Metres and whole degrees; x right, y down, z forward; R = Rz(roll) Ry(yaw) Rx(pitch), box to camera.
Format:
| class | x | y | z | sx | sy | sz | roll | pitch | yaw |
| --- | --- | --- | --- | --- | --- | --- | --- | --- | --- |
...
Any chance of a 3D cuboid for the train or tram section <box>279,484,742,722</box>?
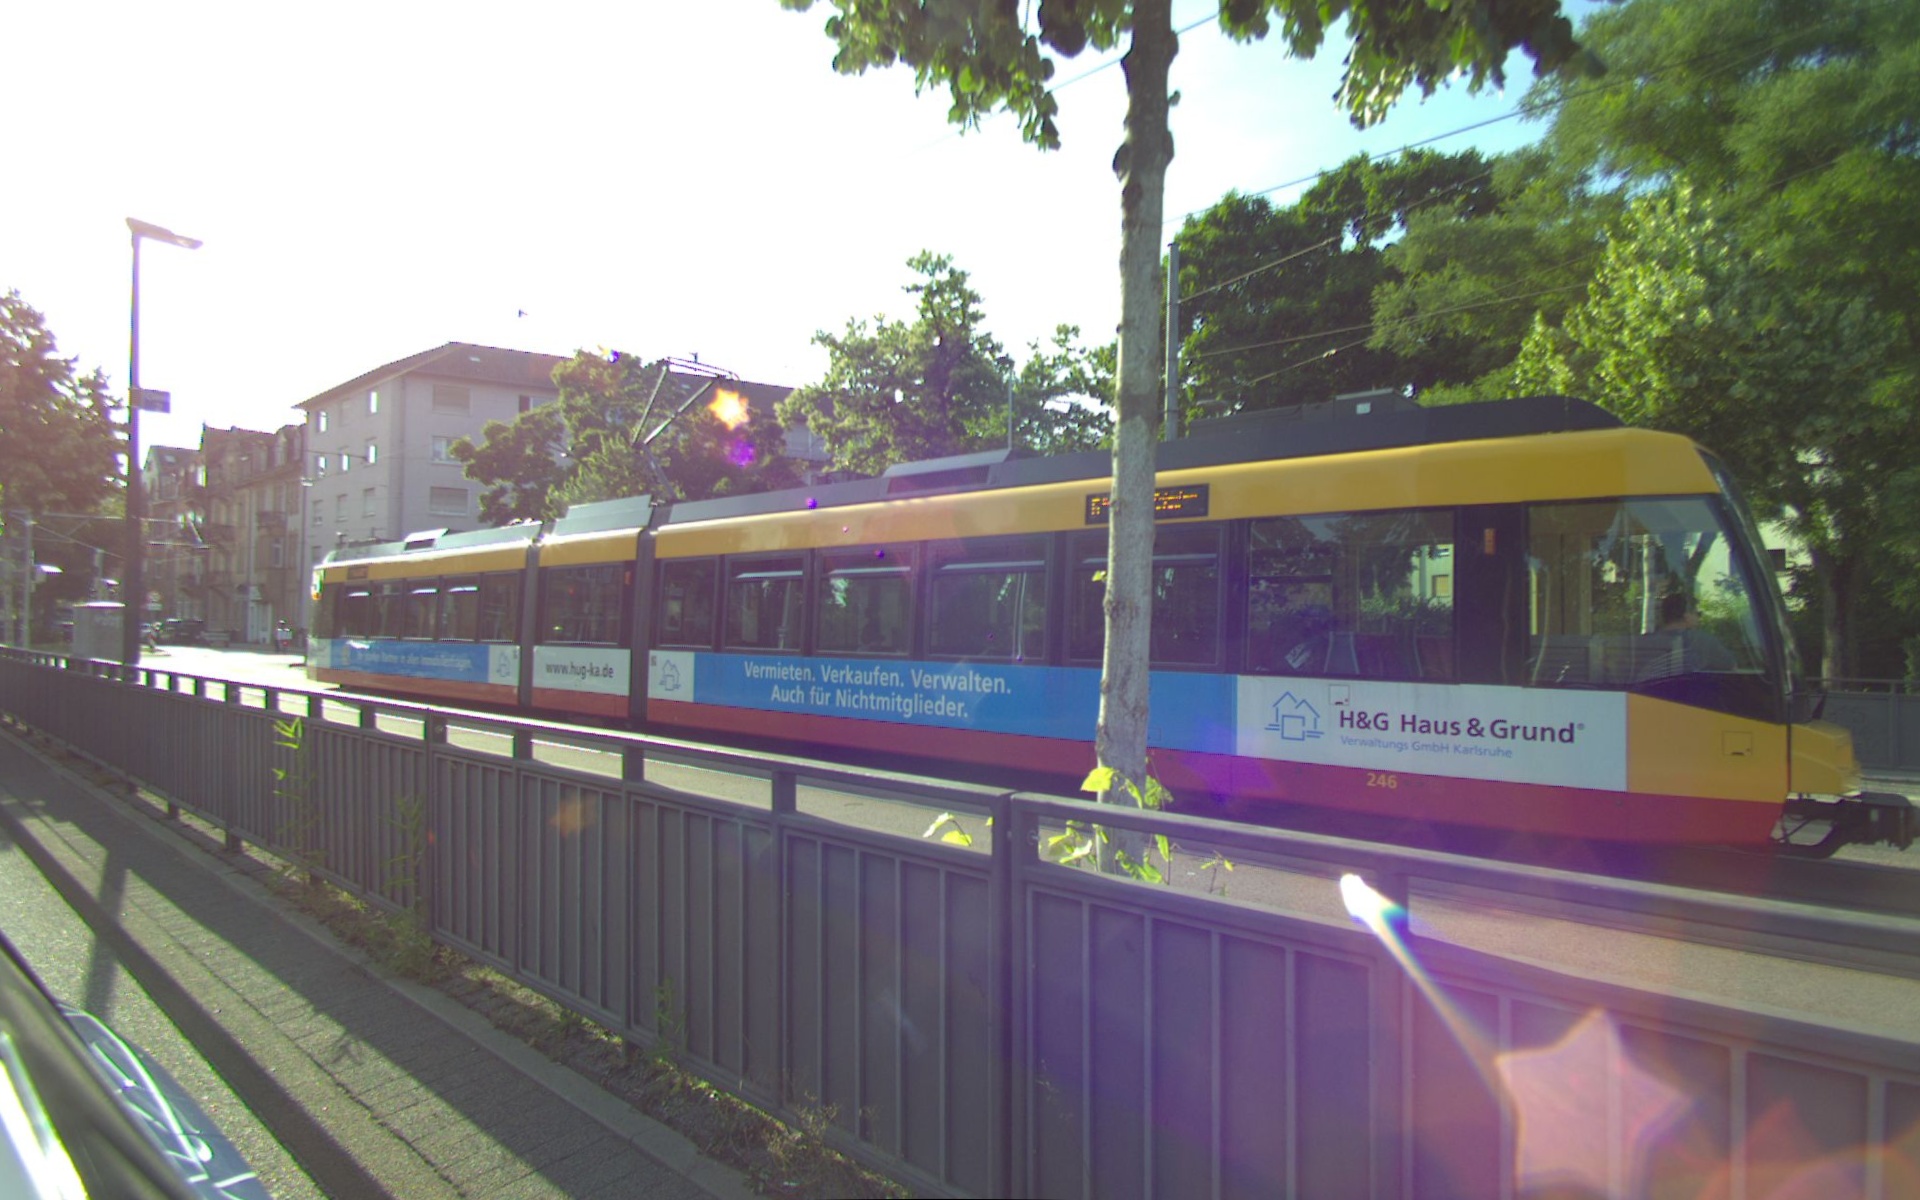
| class | x | y | z | sx | sy | sz | roll | pitch | yaw |
| --- | --- | --- | --- | --- | --- | --- | --- | --- | --- |
| train or tram section | -10.130 | 0.225 | 20.946 | 14.528 | 3.506 | 3.128 | -2 | -2 | 42 |

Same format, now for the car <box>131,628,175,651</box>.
| class | x | y | z | sx | sy | sz | roll | pitch | yaw |
| --- | --- | --- | --- | --- | --- | --- | --- | --- | --- |
| car | -63.576 | 3.072 | 79.709 | 4.611 | 1.763 | 2.141 | -2 | -2 | 44 |

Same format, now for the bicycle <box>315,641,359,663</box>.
| class | x | y | z | sx | sy | sz | roll | pitch | yaw |
| --- | --- | --- | --- | --- | --- | --- | --- | --- | --- |
| bicycle | -32.424 | 2.706 | 52.723 | 1.883 | 1.119 | 0.737 | 2 | -2 | -28 |

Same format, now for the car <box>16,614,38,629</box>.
| class | x | y | z | sx | sy | sz | roll | pitch | yaw |
| --- | --- | --- | --- | --- | --- | --- | --- | --- | --- |
| car | -126.875 | 2.939 | 137.649 | 1.971 | 2.029 | 4.002 | 1 | -2 | -45 |

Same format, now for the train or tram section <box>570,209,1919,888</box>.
| class | x | y | z | sx | sy | sz | roll | pitch | yaw |
| --- | --- | --- | --- | --- | --- | --- | --- | --- | --- |
| train or tram section | 0.673 | -0.091 | 11.195 | 14.467 | 3.506 | 3.128 | -2 | -2 | 42 |

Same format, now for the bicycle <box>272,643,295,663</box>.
| class | x | y | z | sx | sy | sz | roll | pitch | yaw |
| --- | --- | --- | --- | --- | --- | --- | --- | --- | --- |
| bicycle | -34.980 | 2.733 | 52.325 | 2.251 | 1.026 | 0.536 | -2 | -2 | 45 |

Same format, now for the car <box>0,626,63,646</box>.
| class | x | y | z | sx | sy | sz | roll | pitch | yaw |
| --- | --- | --- | --- | --- | --- | --- | --- | --- | --- |
| car | -68.897 | 2.643 | 74.223 | 4.239 | 1.433 | 1.962 | 0 | -2 | -7 |

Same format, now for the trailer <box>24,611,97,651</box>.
| class | x | y | z | sx | sy | sz | roll | pitch | yaw |
| --- | --- | --- | --- | --- | --- | --- | --- | --- | --- |
| trailer | -55.387 | 1.923 | 62.367 | 2.817 | 2.410 | 1.728 | 0 | -2 | -17 |

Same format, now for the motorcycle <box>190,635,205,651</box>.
| class | x | y | z | sx | sy | sz | roll | pitch | yaw |
| --- | --- | --- | --- | --- | --- | --- | --- | --- | --- |
| motorcycle | -51.959 | 2.908 | 68.972 | 0.628 | 1.088 | 1.736 | 1 | -2 | -42 |

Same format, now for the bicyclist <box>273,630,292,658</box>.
| class | x | y | z | sx | sy | sz | roll | pitch | yaw |
| --- | --- | --- | --- | --- | --- | --- | --- | --- | --- |
| bicyclist | -35.047 | 2.268 | 52.338 | 0.717 | 1.424 | 0.643 | -2 | -2 | 44 |

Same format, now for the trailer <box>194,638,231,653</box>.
| class | x | y | z | sx | sy | sz | roll | pitch | yaw |
| --- | --- | --- | --- | --- | --- | --- | --- | --- | --- |
| trailer | -49.869 | 3.027 | 67.508 | 2.879 | 0.903 | 1.425 | -2 | -2 | 42 |

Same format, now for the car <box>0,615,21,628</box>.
| class | x | y | z | sx | sy | sz | roll | pitch | yaw |
| --- | --- | --- | --- | --- | --- | --- | --- | --- | --- |
| car | -144.364 | 3.268 | 153.761 | 3.998 | 2.029 | 1.973 | -2 | -2 | 41 |

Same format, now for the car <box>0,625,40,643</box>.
| class | x | y | z | sx | sy | sz | roll | pitch | yaw |
| --- | --- | --- | --- | --- | --- | --- | --- | --- | --- |
| car | -79.397 | 2.823 | 83.847 | 4.205 | 1.433 | 2.175 | 0 | -2 | -7 |

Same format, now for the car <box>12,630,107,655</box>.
| class | x | y | z | sx | sy | sz | roll | pitch | yaw |
| --- | --- | --- | --- | --- | --- | --- | --- | --- | --- |
| car | -53.326 | 2.517 | 59.997 | 3.888 | 1.370 | 1.677 | 1 | -2 | -12 |

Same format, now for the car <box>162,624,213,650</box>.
| class | x | y | z | sx | sy | sz | roll | pitch | yaw |
| --- | --- | --- | --- | --- | --- | --- | --- | --- | --- |
| car | -54.826 | 2.587 | 71.783 | 4.719 | 1.763 | 2.141 | -2 | -2 | 44 |

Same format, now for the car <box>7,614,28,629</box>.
| class | x | y | z | sx | sy | sz | roll | pitch | yaw |
| --- | --- | --- | --- | --- | --- | --- | --- | --- | --- |
| car | -135.318 | 3.110 | 145.298 | 1.971 | 2.029 | 4.002 | 1 | -2 | -45 |
